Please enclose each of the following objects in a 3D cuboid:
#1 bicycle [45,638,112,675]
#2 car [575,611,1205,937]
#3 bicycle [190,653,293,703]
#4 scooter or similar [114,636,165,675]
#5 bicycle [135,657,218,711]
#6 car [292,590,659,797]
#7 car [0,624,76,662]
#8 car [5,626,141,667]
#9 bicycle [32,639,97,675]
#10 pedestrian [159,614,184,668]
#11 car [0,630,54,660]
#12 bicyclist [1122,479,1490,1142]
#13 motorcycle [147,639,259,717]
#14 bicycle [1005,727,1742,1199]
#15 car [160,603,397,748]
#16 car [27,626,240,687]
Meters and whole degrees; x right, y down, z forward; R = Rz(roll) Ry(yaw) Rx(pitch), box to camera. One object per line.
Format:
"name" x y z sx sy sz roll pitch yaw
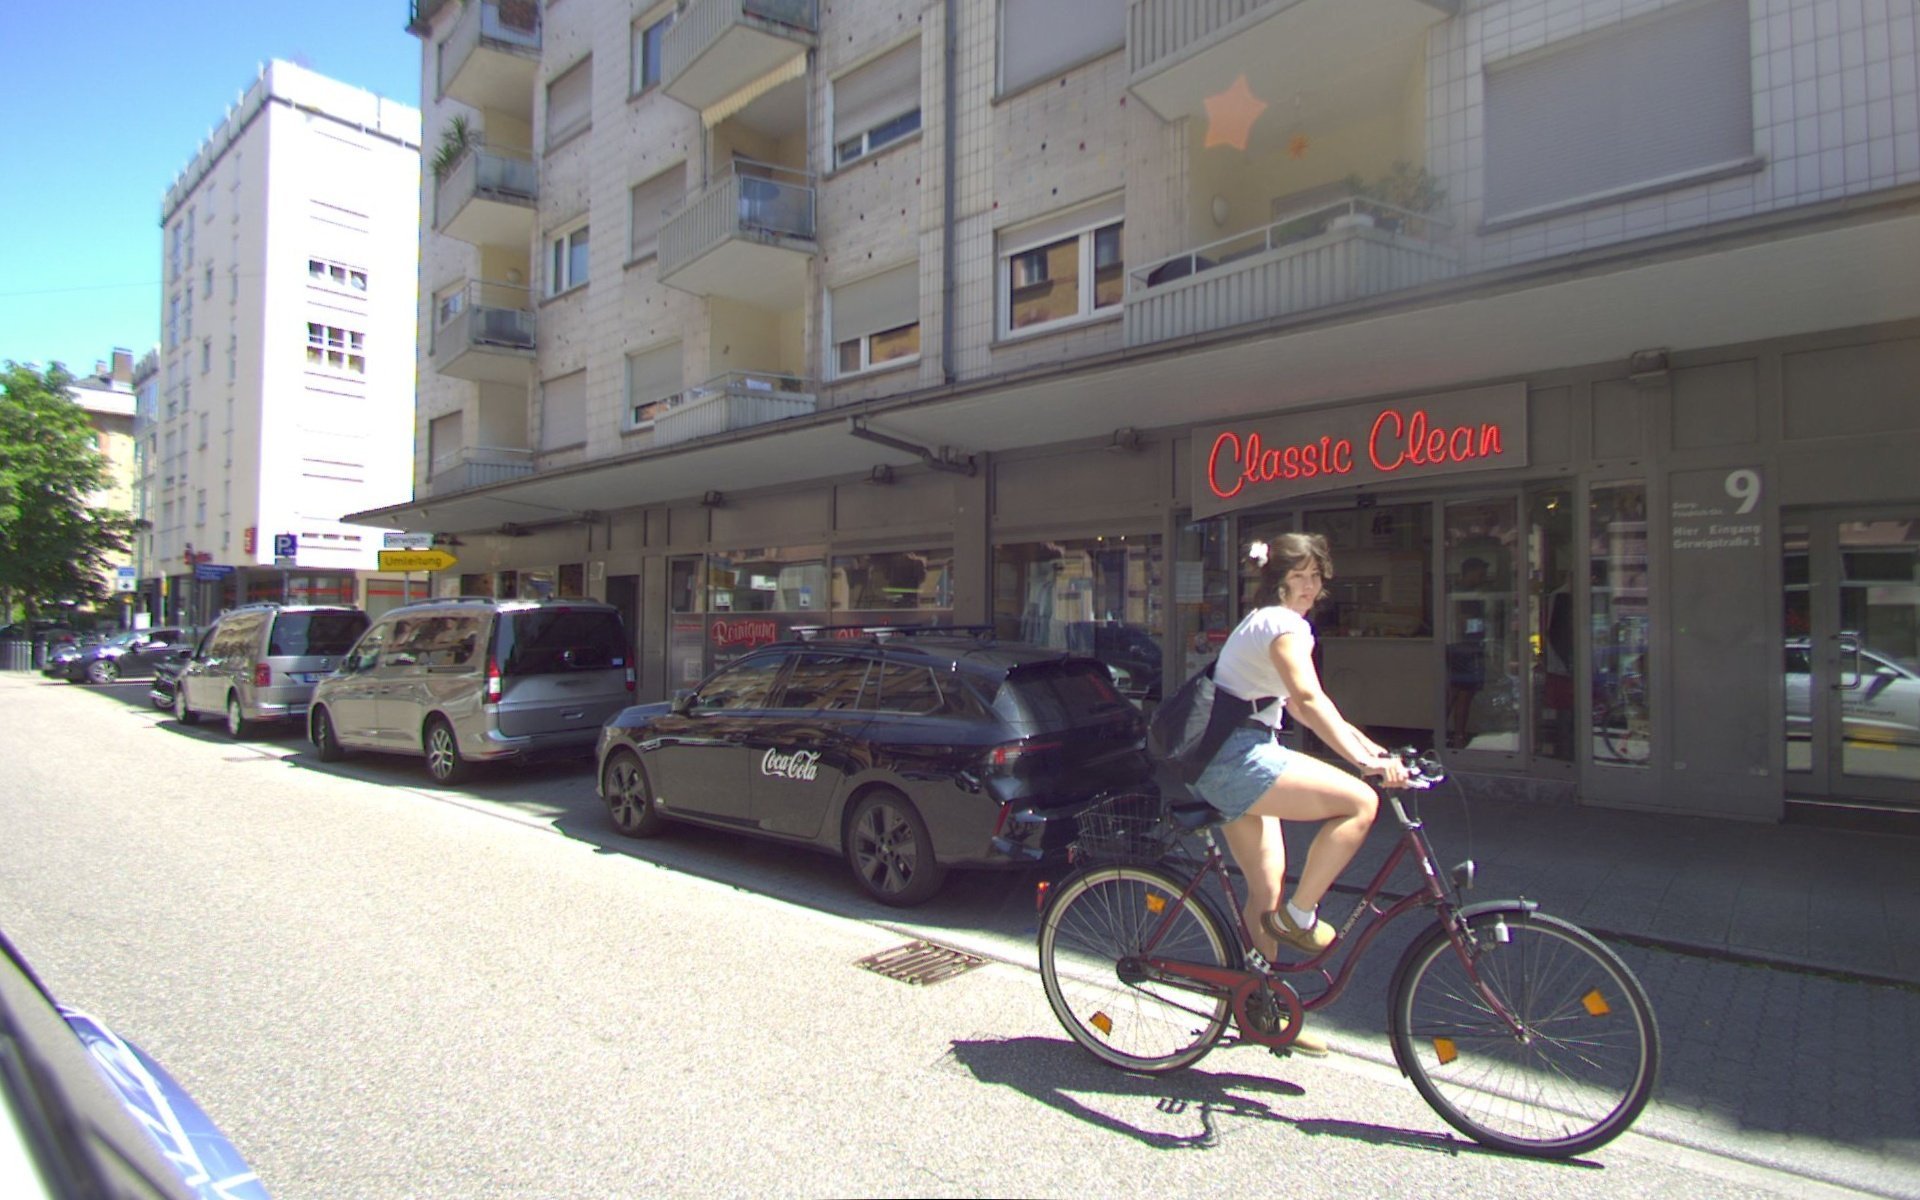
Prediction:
"bicycle" -27.819 1.776 31.949 1.586 1.099 0.371 0 -2 -44
"car" -0.753 0.880 6.898 4.462 1.537 1.652 -2 -2 42
"bicycle" -14.401 1.558 20.297 1.684 0.964 0.411 0 -1 -6
"scooter or similar" -25.588 1.720 31.576 0.289 1.176 1.177 -2 -3 39
"bicycle" -14.317 1.529 18.502 1.194 0.964 0.337 0 -1 -6
"car" -5.452 0.885 11.105 4.693 1.825 1.771 -2 -2 39
"car" -44.849 2.052 48.248 1.651 1.760 3.835 -2 -3 40
"car" -35.190 1.845 40.221 1.651 1.541 3.835 -2 -3 40
"bicycle" -29.065 1.840 32.860 1.586 1.099 0.371 0 -2 -44
"pedestrian" -31.658 1.645 40.649 0.599 2.141 0.496 1 -2 -13
"car" -49.136 2.289 51.853 1.651 1.507 3.835 -2 -3 40
"bicyclist" 1.080 0.558 3.167 0.975 1.719 0.618 -1 -3 31
"motorcycle" -13.287 1.355 17.791 1.530 1.293 0.394 0 0 -17
"bicycle" 1.131 1.012 3.116 1.932 1.100 0.598 -1 -3 30
"car" -10.332 1.025 15.182 4.898 1.843 1.770 -2 -2 41
"car" -21.056 1.415 25.932 1.810 1.436 3.848 -1 -3 33
